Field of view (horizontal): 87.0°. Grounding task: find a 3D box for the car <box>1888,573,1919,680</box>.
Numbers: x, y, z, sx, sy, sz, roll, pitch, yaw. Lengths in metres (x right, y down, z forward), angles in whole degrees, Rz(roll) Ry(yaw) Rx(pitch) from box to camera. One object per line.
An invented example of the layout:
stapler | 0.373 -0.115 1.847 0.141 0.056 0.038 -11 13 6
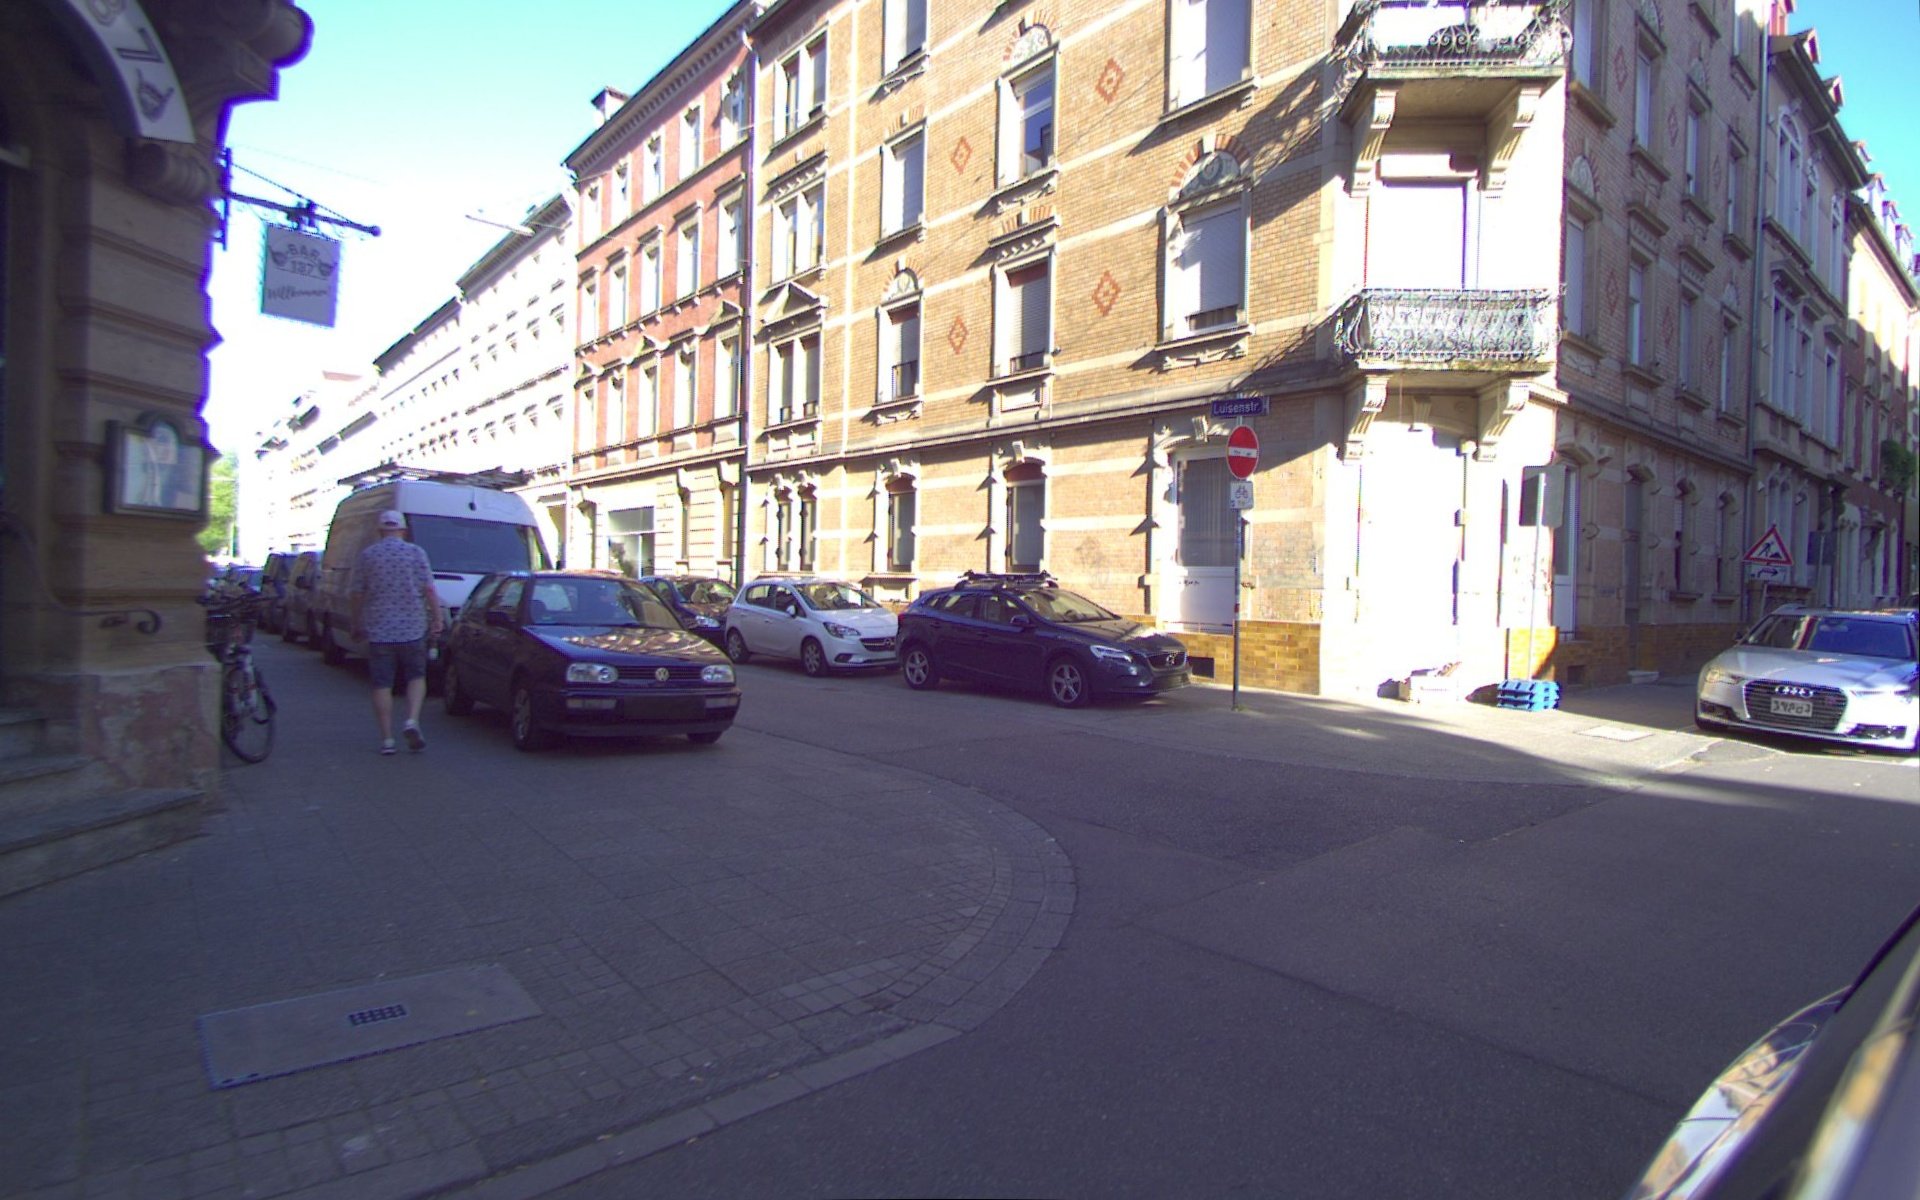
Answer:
car | 19.720 0.498 19.787 4.188 1.986 1.773 0 -1 -40

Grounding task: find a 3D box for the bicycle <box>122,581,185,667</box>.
bicycle | -10.746 0.287 13.469 0.525 1.068 1.778 1 1 -43

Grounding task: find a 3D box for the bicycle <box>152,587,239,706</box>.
bicycle | -7.661 0.419 10.113 0.525 1.068 1.778 1 1 -43

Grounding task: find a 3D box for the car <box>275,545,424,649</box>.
car | -11.343 -0.067 18.701 1.703 1.705 3.987 1 0 -41

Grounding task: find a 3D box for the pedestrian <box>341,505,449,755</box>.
pedestrian | -4.169 0.207 7.509 0.563 1.754 0.665 2 1 -20

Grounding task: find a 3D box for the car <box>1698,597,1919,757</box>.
car | 10.029 0.720 11.436 4.431 1.477 1.709 0 -1 -40

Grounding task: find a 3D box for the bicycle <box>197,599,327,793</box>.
bicycle | -4.605 0.548 6.630 0.524 1.068 1.779 1 1 -40

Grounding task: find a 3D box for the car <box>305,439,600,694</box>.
car | -7.268 -0.364 13.930 2.029 2.685 6.822 3 -1 -40

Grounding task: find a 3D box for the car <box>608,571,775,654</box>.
car | -5.429 0.192 20.171 1.704 1.488 3.995 0 1 -40

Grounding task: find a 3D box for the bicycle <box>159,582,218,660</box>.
bicycle | -11.370 0.281 14.892 0.525 1.068 1.778 1 1 -43

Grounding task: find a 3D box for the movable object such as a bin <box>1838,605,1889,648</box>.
movable object such as a bin | 24.024 0.688 26.919 0.710 1.074 0.897 1 3 -42

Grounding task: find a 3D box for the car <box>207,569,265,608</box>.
car | -28.485 -0.481 39.763 1.573 1.443 3.865 0 1 -40

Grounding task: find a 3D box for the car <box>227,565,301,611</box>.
car | -22.488 -0.405 32.645 1.573 1.407 3.994 0 1 -41

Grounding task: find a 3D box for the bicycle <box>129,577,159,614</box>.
bicycle | -24.073 -0.140 29.869 0.524 1.067 1.782 1 1 -34

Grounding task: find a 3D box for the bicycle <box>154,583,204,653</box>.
bicycle | -12.685 0.261 16.465 0.524 1.067 1.782 1 1 -34

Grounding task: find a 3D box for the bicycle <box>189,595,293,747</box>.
bicycle | -5.808 0.509 8.139 0.524 1.068 1.779 1 1 -40

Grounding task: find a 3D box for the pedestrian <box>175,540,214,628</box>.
pedestrian | -17.533 -0.362 23.168 0.660 1.962 0.663 1 0 -40

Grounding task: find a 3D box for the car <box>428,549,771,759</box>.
car | -3.438 0.361 9.163 1.702 1.470 3.990 1 0 -39

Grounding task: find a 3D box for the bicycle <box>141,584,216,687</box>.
bicycle | -8.881 0.360 11.477 0.525 1.068 1.778 1 1 -43

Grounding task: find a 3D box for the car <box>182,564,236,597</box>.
car | -34.914 -0.900 46.996 1.736 1.443 4.875 0 1 -40

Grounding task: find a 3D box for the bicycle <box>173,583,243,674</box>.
bicycle | -9.597 0.325 12.889 0.525 1.068 1.778 1 1 -43

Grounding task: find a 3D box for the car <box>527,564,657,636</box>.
car | -9.020 -0.028 24.635 1.704 1.602 3.995 0 1 -40

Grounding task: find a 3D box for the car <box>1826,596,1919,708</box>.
car | 14.282 0.720 14.940 3.818 1.498 1.670 1 0 -40

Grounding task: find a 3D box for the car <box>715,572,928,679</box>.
car | -2.380 0.311 16.675 1.562 1.456 3.995 -4 4 -40

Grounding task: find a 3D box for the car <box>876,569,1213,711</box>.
car | 0.963 0.377 13.197 4.242 1.488 1.742 2 5 44

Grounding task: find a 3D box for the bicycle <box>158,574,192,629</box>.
bicycle | -17.744 0.021 22.864 0.580 1.196 1.506 1 1 -38

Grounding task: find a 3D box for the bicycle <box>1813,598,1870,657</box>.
bicycle | 21.223 0.639 24.358 1.662 1.319 0.729 0 3 -40

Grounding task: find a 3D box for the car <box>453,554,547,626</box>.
car | -13.673 -0.316 29.959 1.510 1.997 4.024 1 1 -40

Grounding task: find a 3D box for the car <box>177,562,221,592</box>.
car | -38.394 -1.164 51.039 1.573 1.443 3.865 0 1 -40

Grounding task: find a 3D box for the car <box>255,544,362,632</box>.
car | -15.234 -0.260 23.562 1.701 1.850 4.442 1 0 -37
